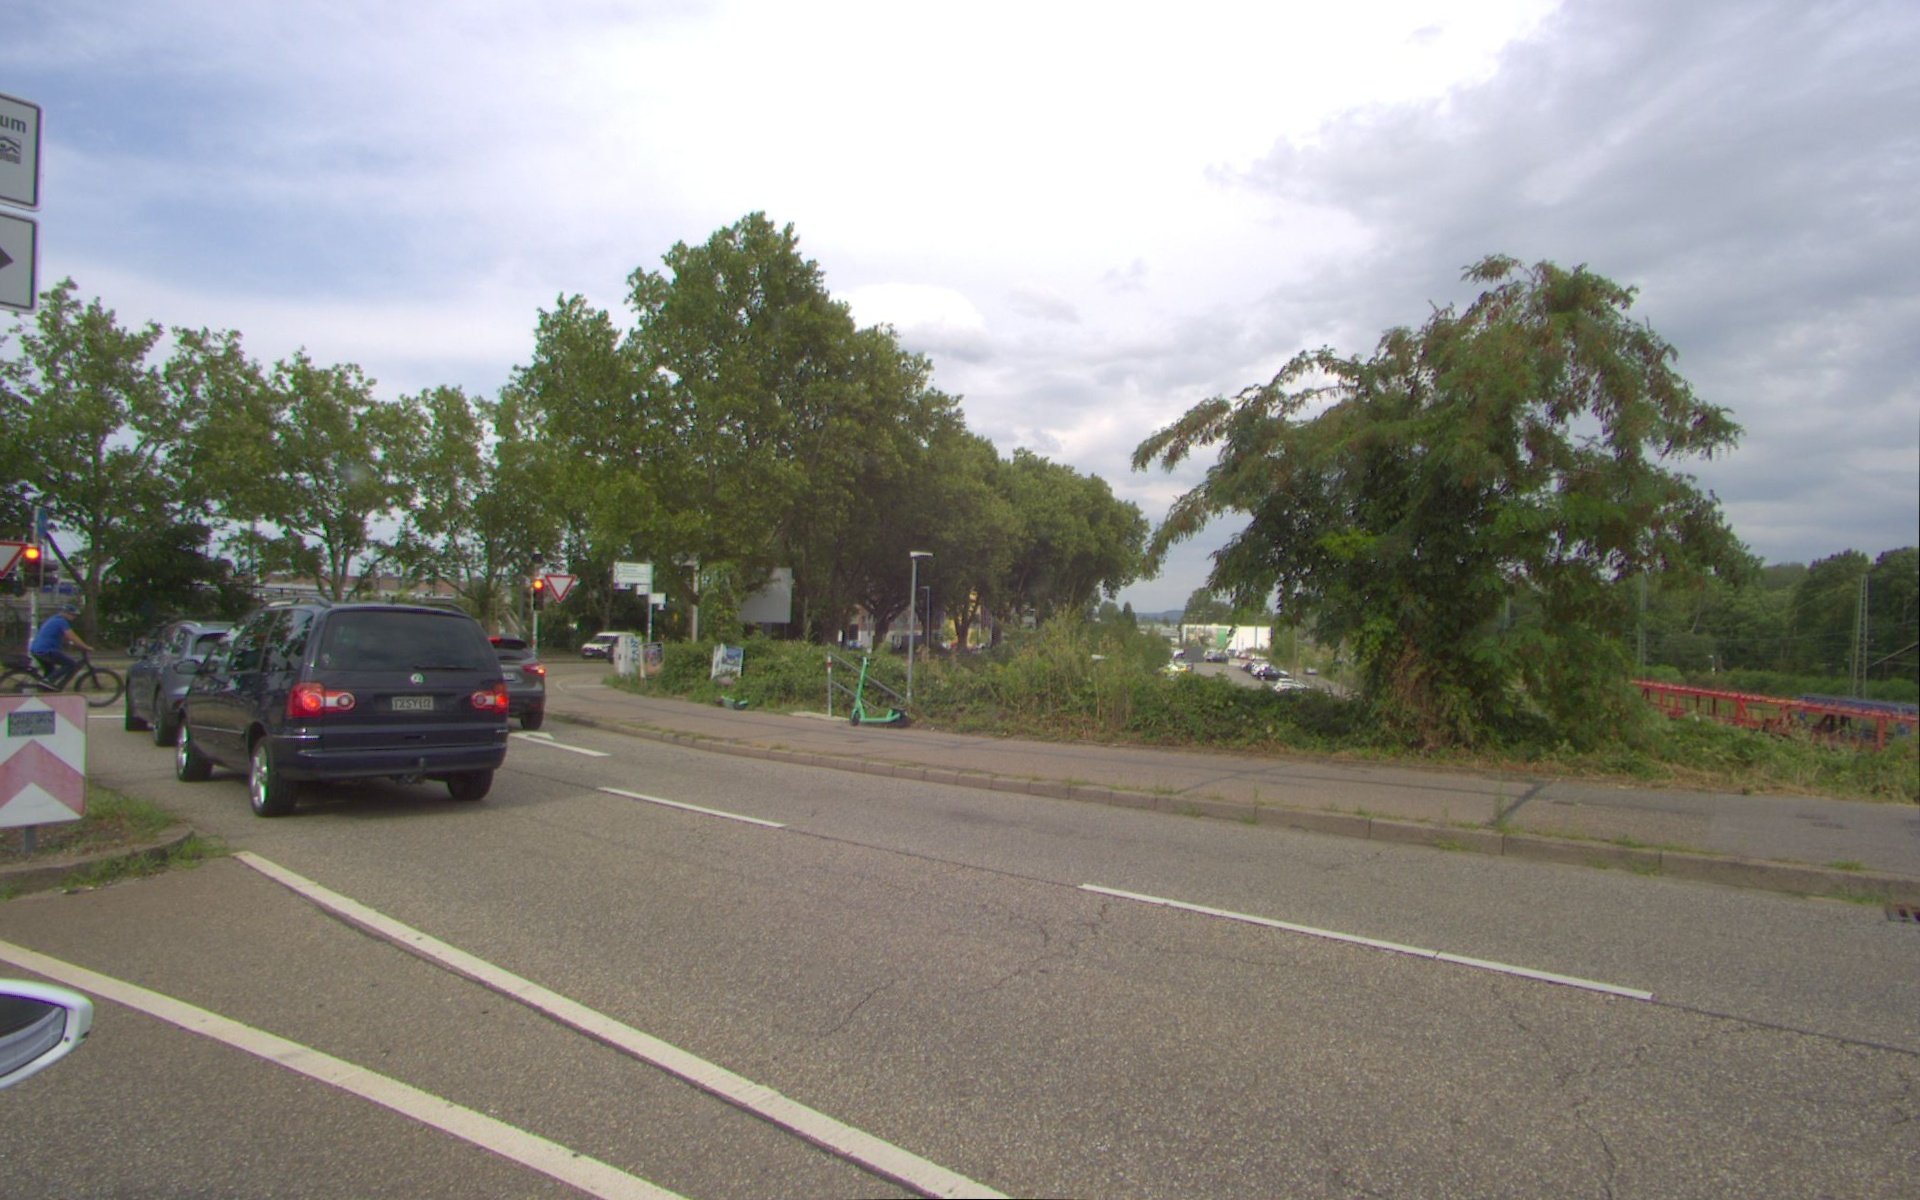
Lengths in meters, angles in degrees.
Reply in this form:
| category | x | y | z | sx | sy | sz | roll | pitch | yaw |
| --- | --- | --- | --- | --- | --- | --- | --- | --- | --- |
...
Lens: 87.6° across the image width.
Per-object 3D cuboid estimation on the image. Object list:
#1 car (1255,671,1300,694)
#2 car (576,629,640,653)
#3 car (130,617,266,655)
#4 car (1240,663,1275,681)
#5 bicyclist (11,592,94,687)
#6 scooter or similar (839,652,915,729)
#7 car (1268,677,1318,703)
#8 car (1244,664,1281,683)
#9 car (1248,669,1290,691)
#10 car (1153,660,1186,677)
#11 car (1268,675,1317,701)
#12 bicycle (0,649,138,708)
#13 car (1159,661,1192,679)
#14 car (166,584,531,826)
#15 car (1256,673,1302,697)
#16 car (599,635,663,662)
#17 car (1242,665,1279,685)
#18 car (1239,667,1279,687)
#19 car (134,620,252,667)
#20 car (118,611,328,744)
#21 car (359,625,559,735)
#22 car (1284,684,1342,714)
| category | x | y | z | sx | sy | sz | roll | pitch | yaw |
| --- | --- | --- | --- | --- | --- | --- | --- | --- | --- |
| car | 31.222 | 8.152 | 98.593 | 3.923 | 2.040 | 1.762 | 1 | -1 | 10 |
| car | -22.658 | 2.625 | 64.640 | 1.729 | 1.466 | 4.339 | 0 | -1 | 16 |
| car | -31.407 | 1.472 | 41.438 | 1.729 | 1.466 | 4.339 | 0 | -1 | 16 |
| car | 36.914 | 8.900 | 124.413 | 3.923 | 2.040 | 1.762 | 1 | -1 | 10 |
| bicyclist | -16.520 | 0.714 | 18.238 | 0.799 | 1.678 | 0.880 | 0 | -1 | 28 |
| scooter or similar | -1.368 | 1.465 | 16.446 | 1.262 | 1.198 | 0.396 | -1 | -1 | 32 |
| car | 28.968 | 7.828 | 87.187 | 3.923 | 2.040 | 1.762 | 1 | -1 | 10 |
| car | 36.118 | 8.767 | 119.581 | 3.923 | 2.040 | 1.762 | 1 | -1 | 10 |
| car | 32.107 | 8.307 | 104.251 | 3.923 | 2.040 | 1.762 | 1 | -1 | 10 |
| car | 26.711 | 8.724 | 127.676 | 3.926 | 2.040 | 1.761 | 1 | -1 | 16 |
| car | 30.020 | 7.932 | 90.500 | 3.923 | 2.040 | 1.762 | 1 | -1 | 10 |
| bicycle | -16.511 | 1.402 | 18.260 | 0.799 | 0.965 | 2.227 | 0 | -1 | 28 |
| car | 26.841 | 8.659 | 124.777 | 3.926 | 2.040 | 1.761 | 1 | -1 | 16 |
| car | -5.787 | 0.856 | 9.275 | 4.092 | 1.746 | 1.743 | -1 | -4 | 42 |
| car | 30.171 | 8.038 | 94.821 | 3.923 | 2.040 | 1.762 | 1 | -1 | 10 |
| car | -19.260 | 2.821 | 58.850 | 1.671 | 1.469 | 4.068 | 0 | -2 | 14 |
| car | 34.694 | 8.639 | 115.636 | 3.923 | 2.040 | 1.762 | 1 | -1 | 10 |
| car | 32.897 | 8.469 | 110.280 | 3.923 | 2.040 | 1.762 | 1 | -1 | 10 |
| car | -24.588 | 1.378 | 32.196 | 1.471 | 1.440 | 2.719 | 1 | -1 | 12 |
| car | -10.536 | 1.041 | 14.202 | 4.113 | 1.604 | 1.682 | -2 | -4 | 44 |
| car | -8.648 | 1.307 | 17.139 | 4.094 | 1.663 | 1.742 | -2 | -4 | 44 |
| car | 26.890 | 7.523 | 76.373 | 3.923 | 2.040 | 1.762 | 1 | -1 | 10 |
